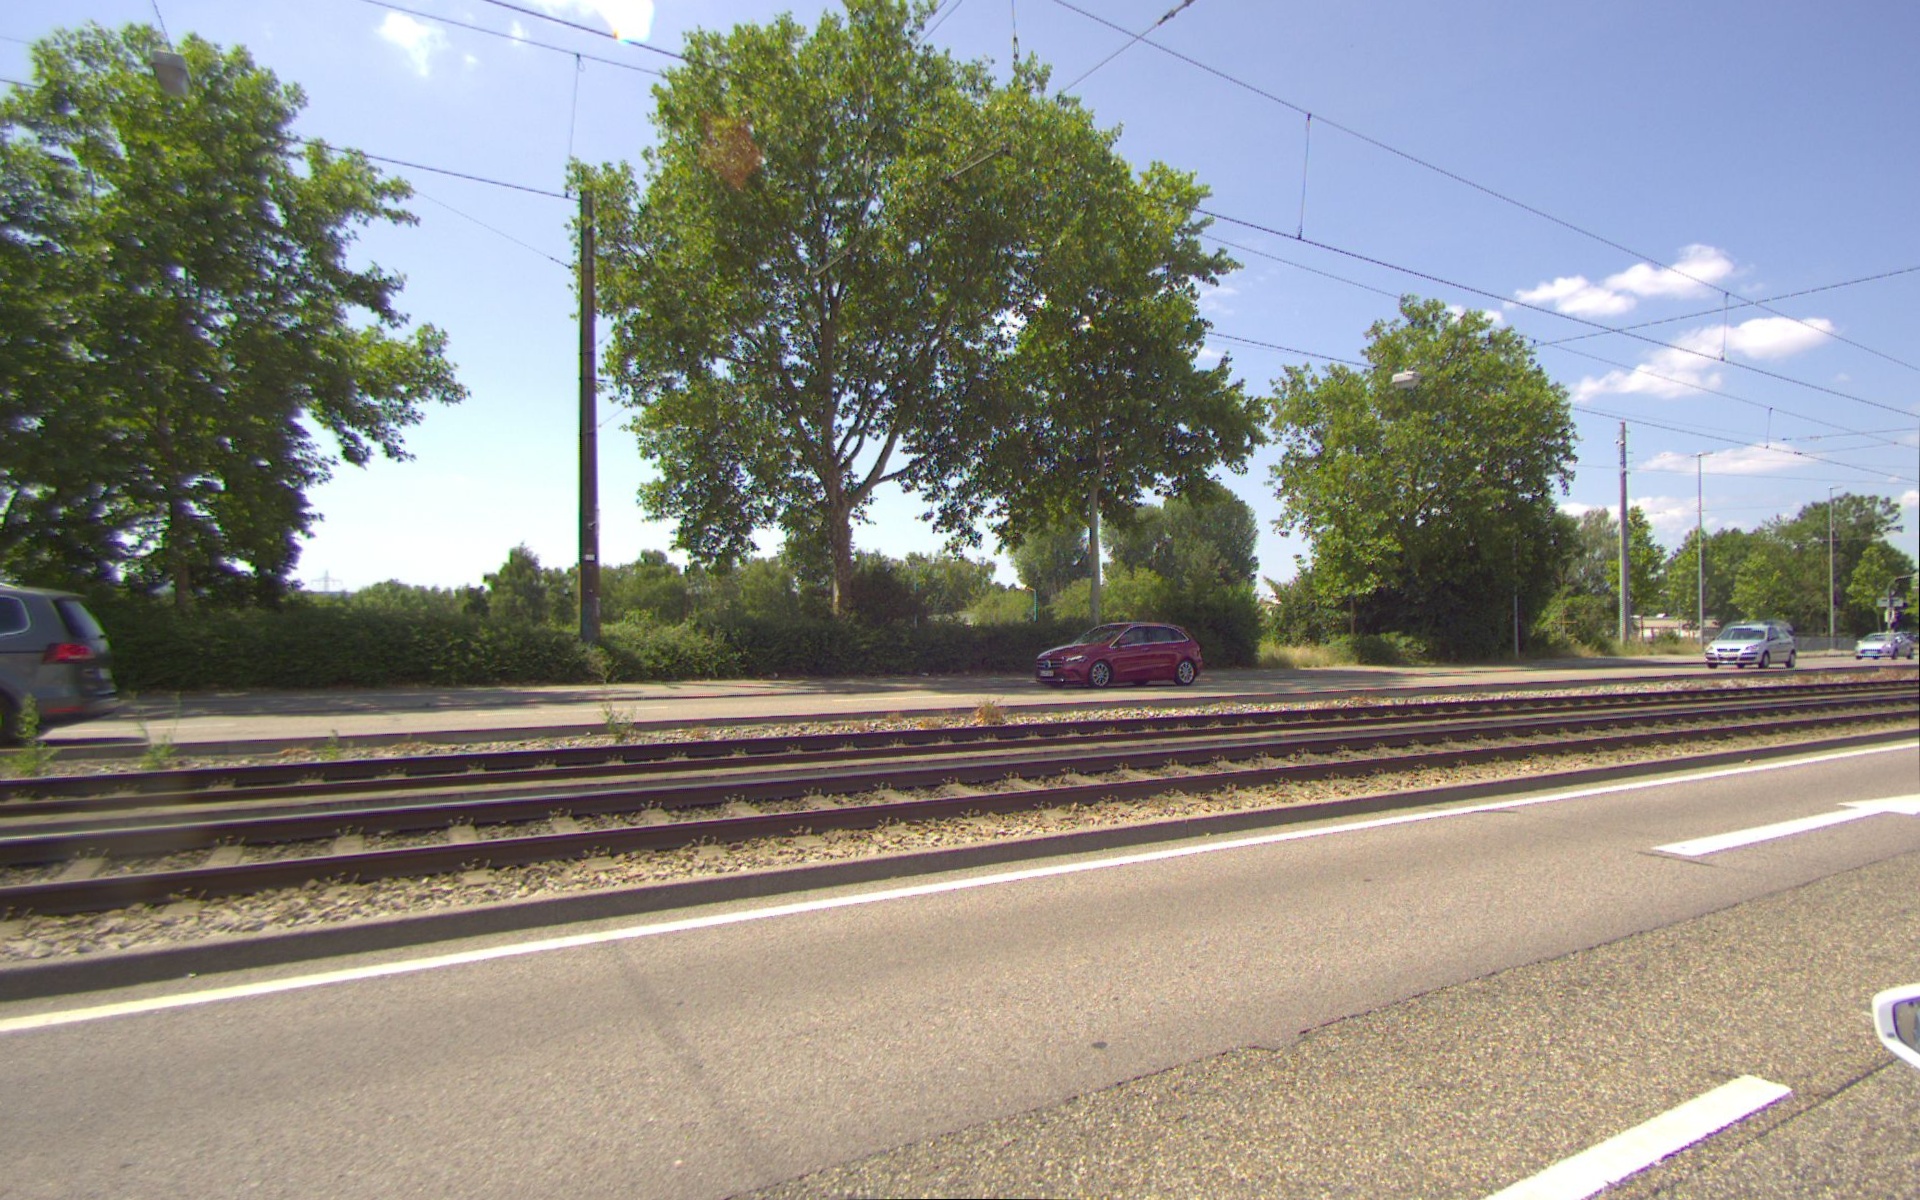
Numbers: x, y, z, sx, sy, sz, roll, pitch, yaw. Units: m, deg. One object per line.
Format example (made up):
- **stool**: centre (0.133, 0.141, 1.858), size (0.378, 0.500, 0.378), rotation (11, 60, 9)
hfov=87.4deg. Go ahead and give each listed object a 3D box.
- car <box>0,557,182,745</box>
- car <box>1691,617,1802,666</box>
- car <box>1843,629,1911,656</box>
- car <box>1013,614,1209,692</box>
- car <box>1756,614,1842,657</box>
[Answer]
- **car**: centre (-11.063, 0.534, 10.068), size (4.913, 1.854, 1.984), rotation (1, -3, -32)
- **car**: centre (27.068, 1.417, 34.542), size (4.013, 1.604, 1.677), rotation (1, -3, -32)
- **car**: centre (50.059, 2.325, 54.807), size (3.842, 1.434, 1.812), rotation (1, -3, -33)
- **car**: centre (3.643, 1.231, 24.051), size (4.418, 1.692, 1.983), rotation (1, -3, -32)
- **car**: centre (38.039, 1.607, 45.527), size (4.925, 1.854, 1.979), rotation (1, -3, -38)
